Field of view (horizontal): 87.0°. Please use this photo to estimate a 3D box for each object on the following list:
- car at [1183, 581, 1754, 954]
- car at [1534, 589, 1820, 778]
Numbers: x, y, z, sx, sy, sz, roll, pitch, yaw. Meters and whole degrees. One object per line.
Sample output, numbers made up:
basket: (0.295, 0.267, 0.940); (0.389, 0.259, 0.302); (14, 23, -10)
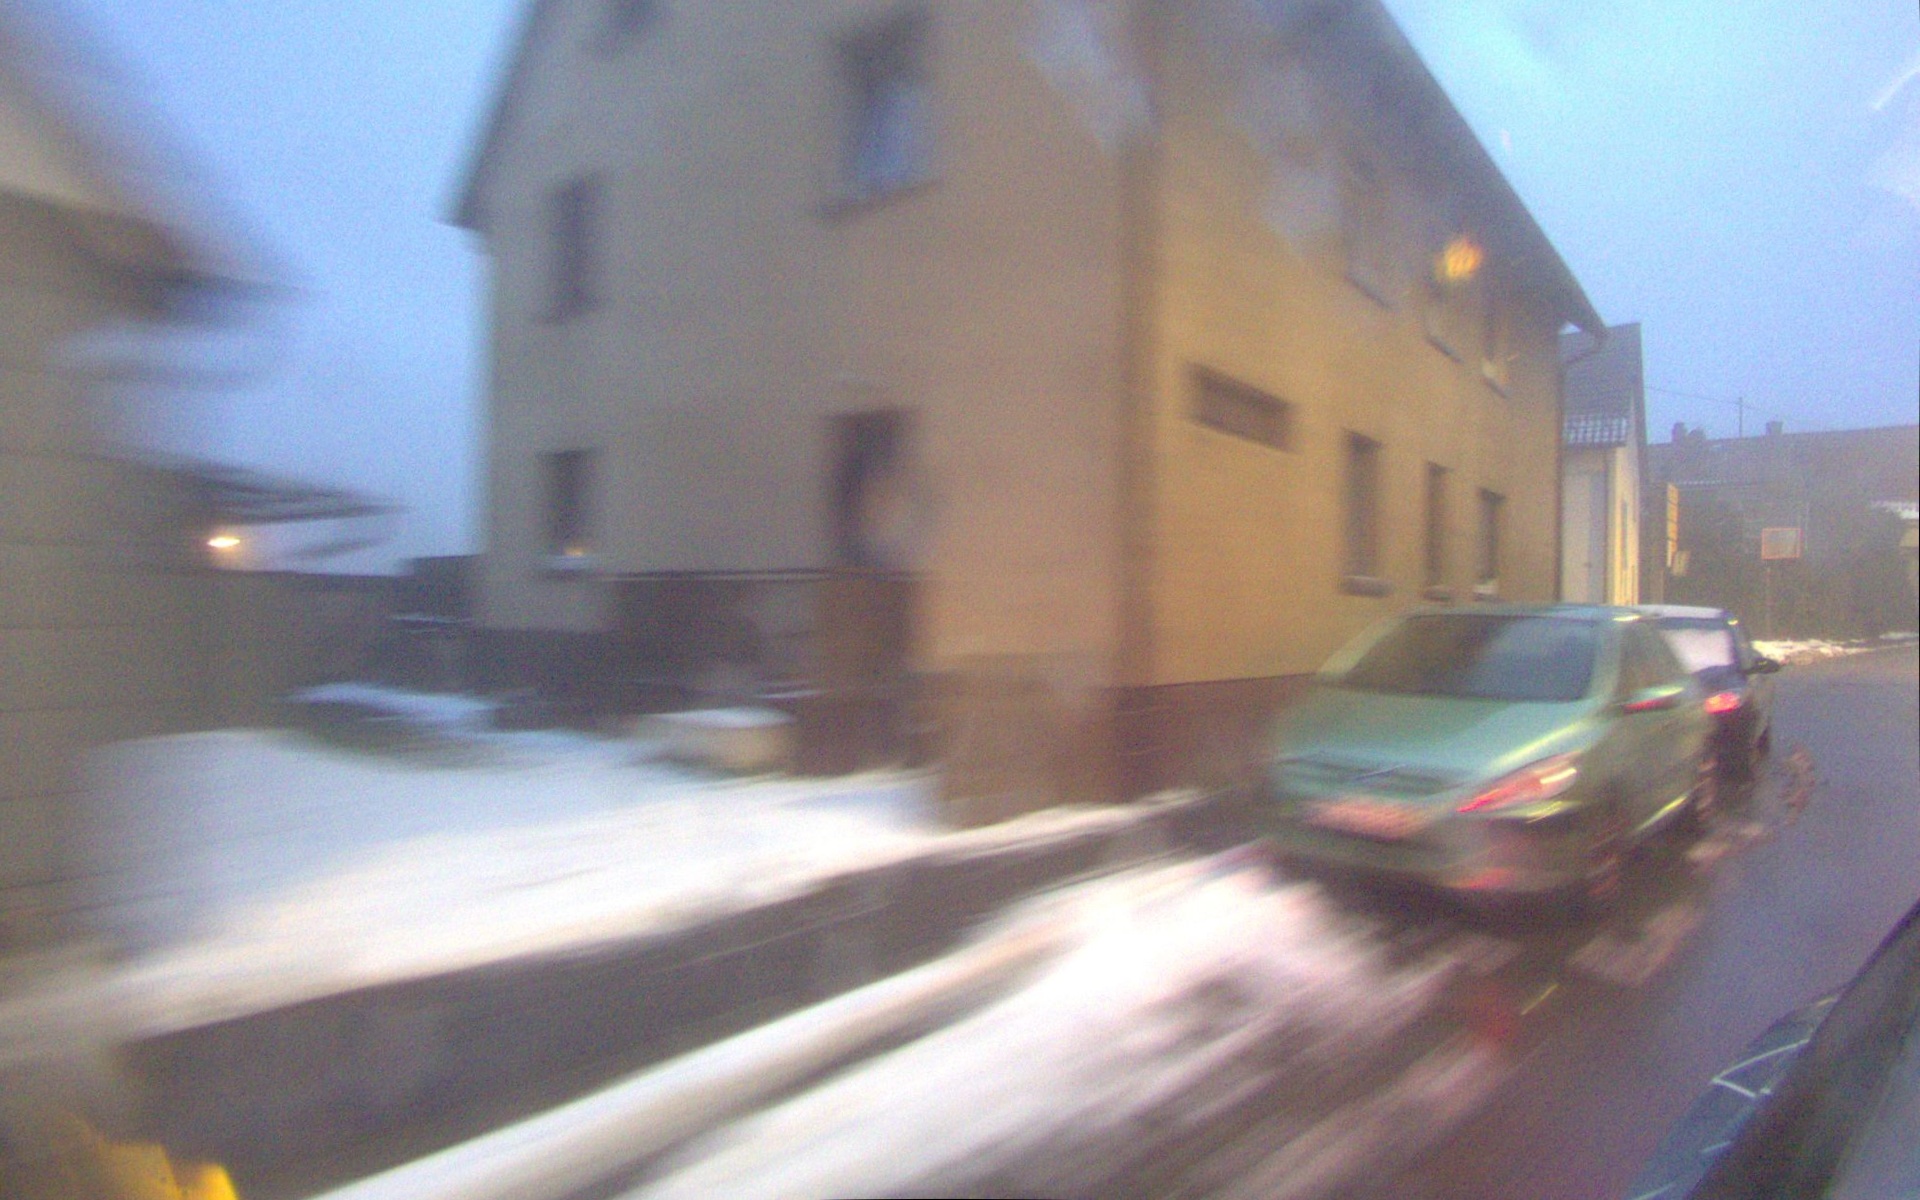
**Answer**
car: (3.359, 0.645, 6.237); (4.212, 1.499, 1.911); (-1, 1, -45)
car: (7.285, 0.709, 10.137); (1.717, 1.519, 3.843); (-1, -2, 45)
